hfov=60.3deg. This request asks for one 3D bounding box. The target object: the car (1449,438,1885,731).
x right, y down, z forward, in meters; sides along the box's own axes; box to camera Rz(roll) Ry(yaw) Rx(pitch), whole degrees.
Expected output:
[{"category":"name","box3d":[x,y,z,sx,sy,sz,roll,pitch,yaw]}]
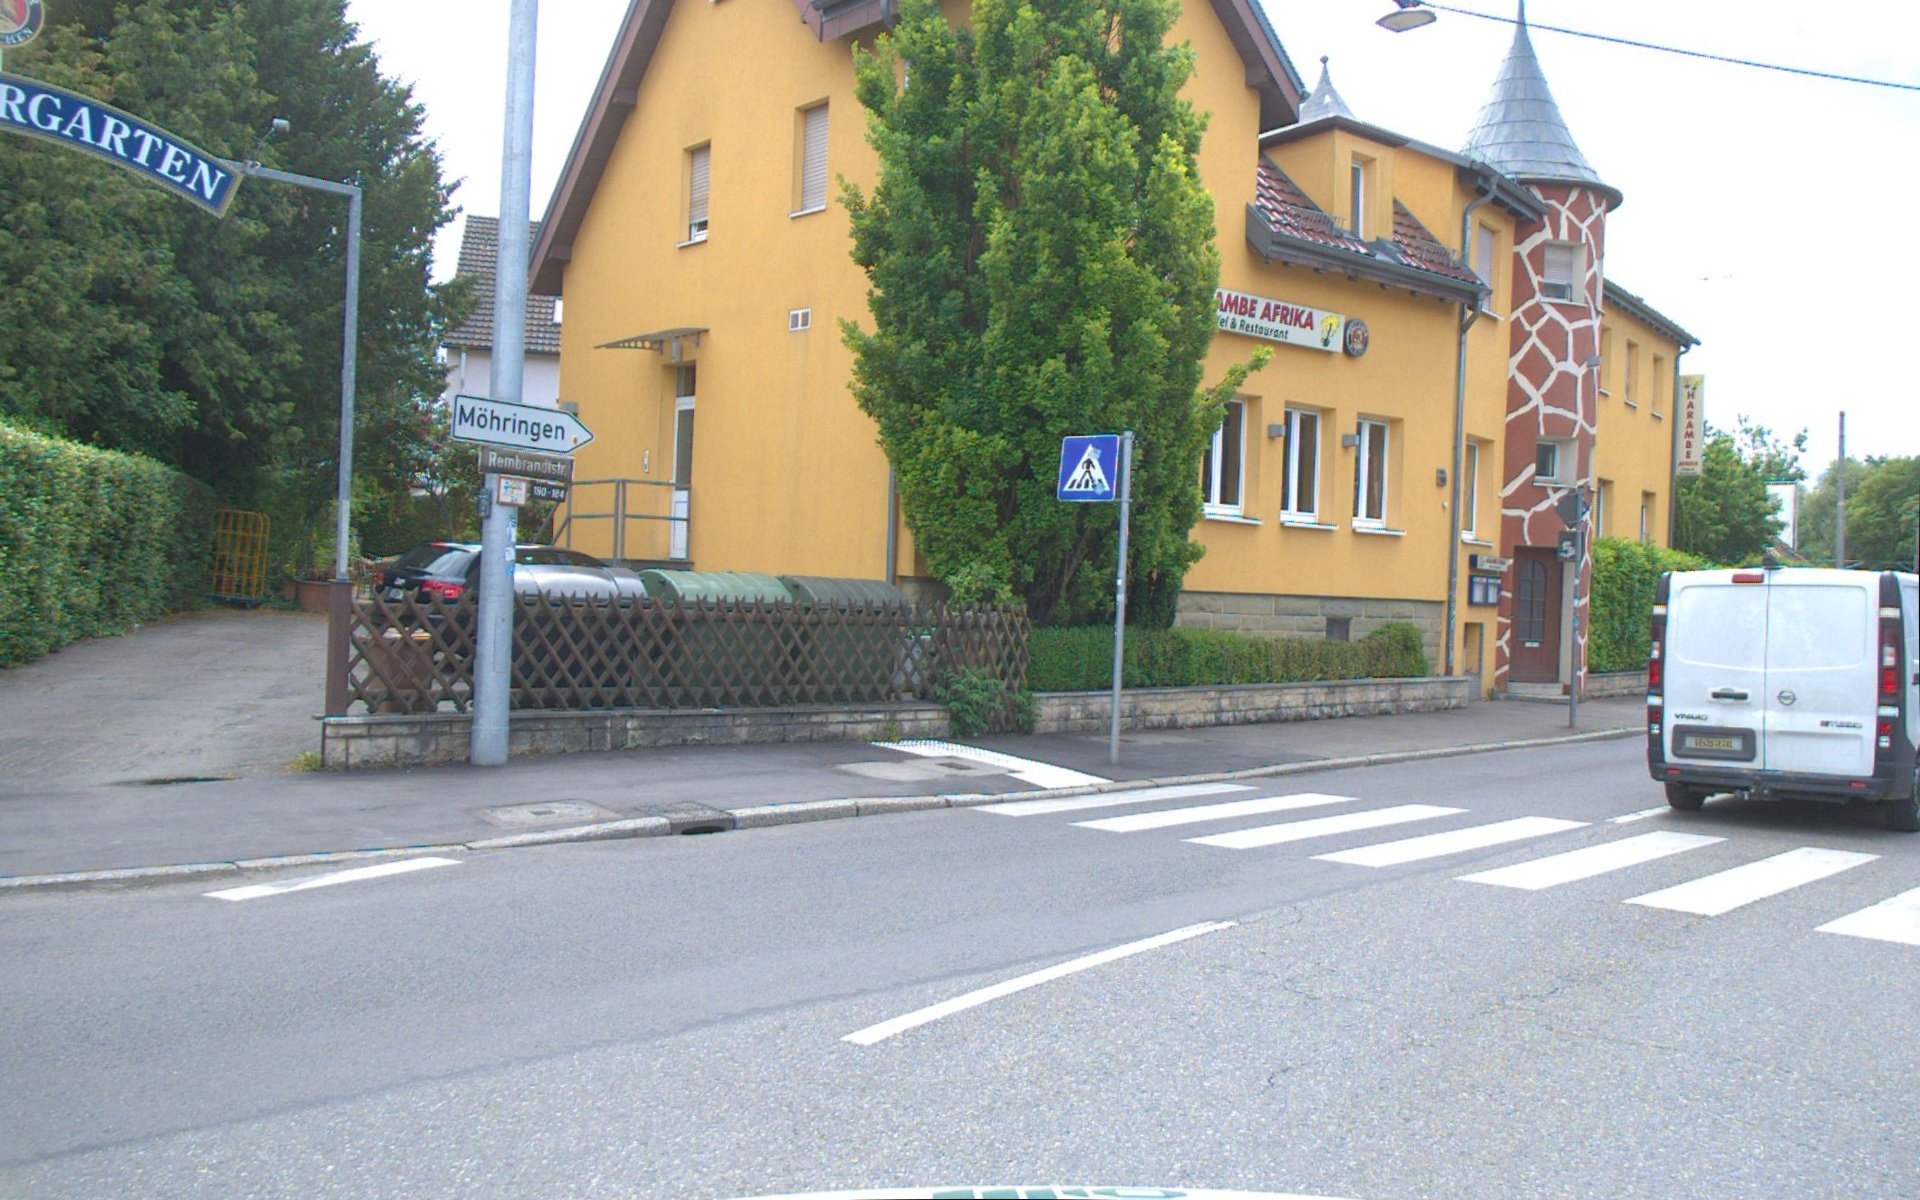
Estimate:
[{"category":"car","box3d":[6.596,-0.110,15.006,2.085,2.171,5.411,4,1,40]}]

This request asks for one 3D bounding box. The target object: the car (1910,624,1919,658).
[{"category":"car","box3d":[43.327,1.821,73.471,1.783,1.444,4.457,0,-1,27]}]

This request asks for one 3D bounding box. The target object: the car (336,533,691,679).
[{"category":"car","box3d":[-5.152,0.039,19.381,1.698,1.451,3.655,6,4,43]}]
